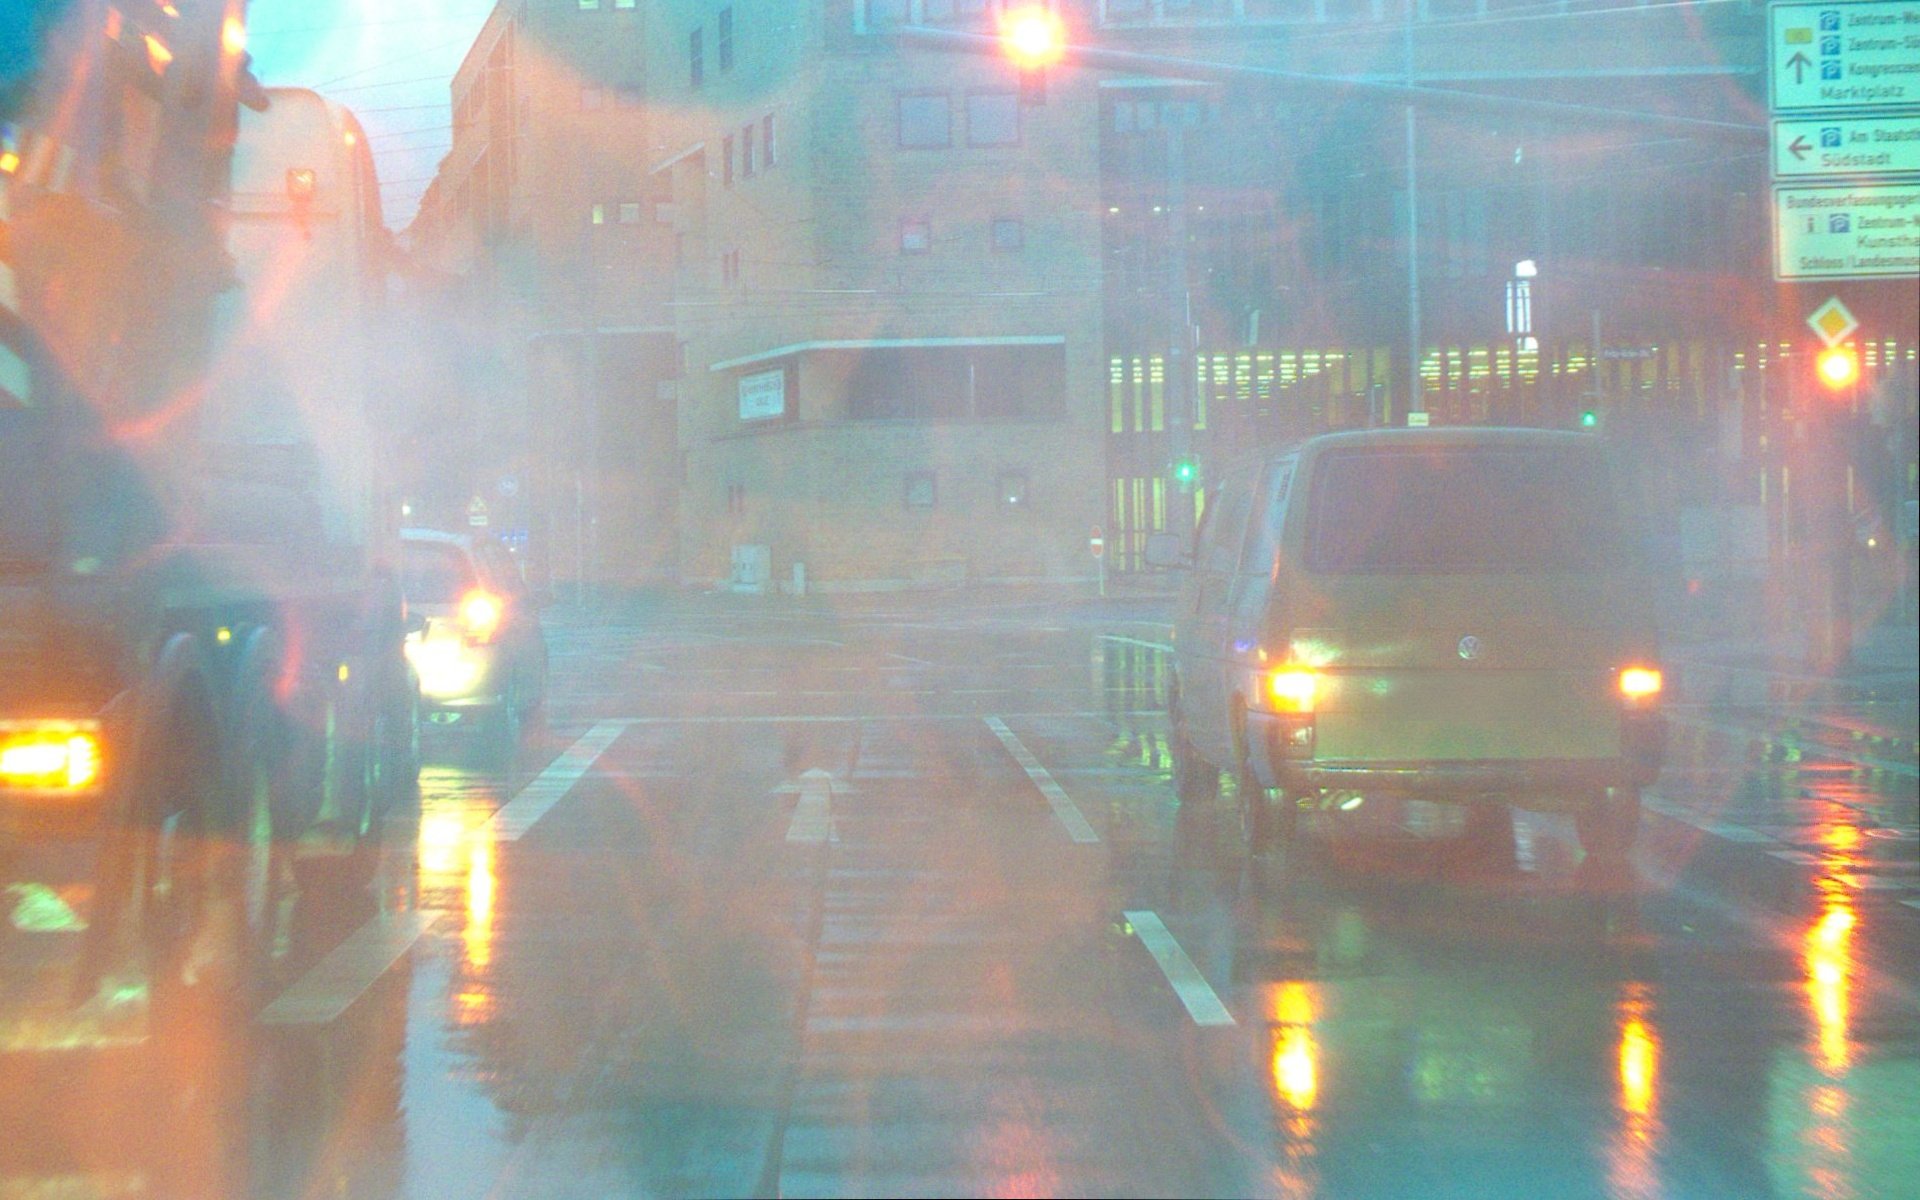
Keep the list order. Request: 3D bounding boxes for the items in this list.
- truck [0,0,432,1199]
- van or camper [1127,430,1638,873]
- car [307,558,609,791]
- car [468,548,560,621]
[{"bbox_3d":[-3.585,-0.348,11.674,2.839,3.621,7.528,-1,1,-4],"label":"truck"},{"bbox_3d":[1.930,0.177,17.016,1.756,1.900,4.419,0,1,-3],"label":"van or camper"},{"bbox_3d":[-3.453,0.460,24.225,1.697,1.454,3.758,-1,1,-2],"label":"car"},{"bbox_3d":[-10.400,-0.377,79.978,1.870,1.573,4.001,1,1,-11],"label":"car"}]
